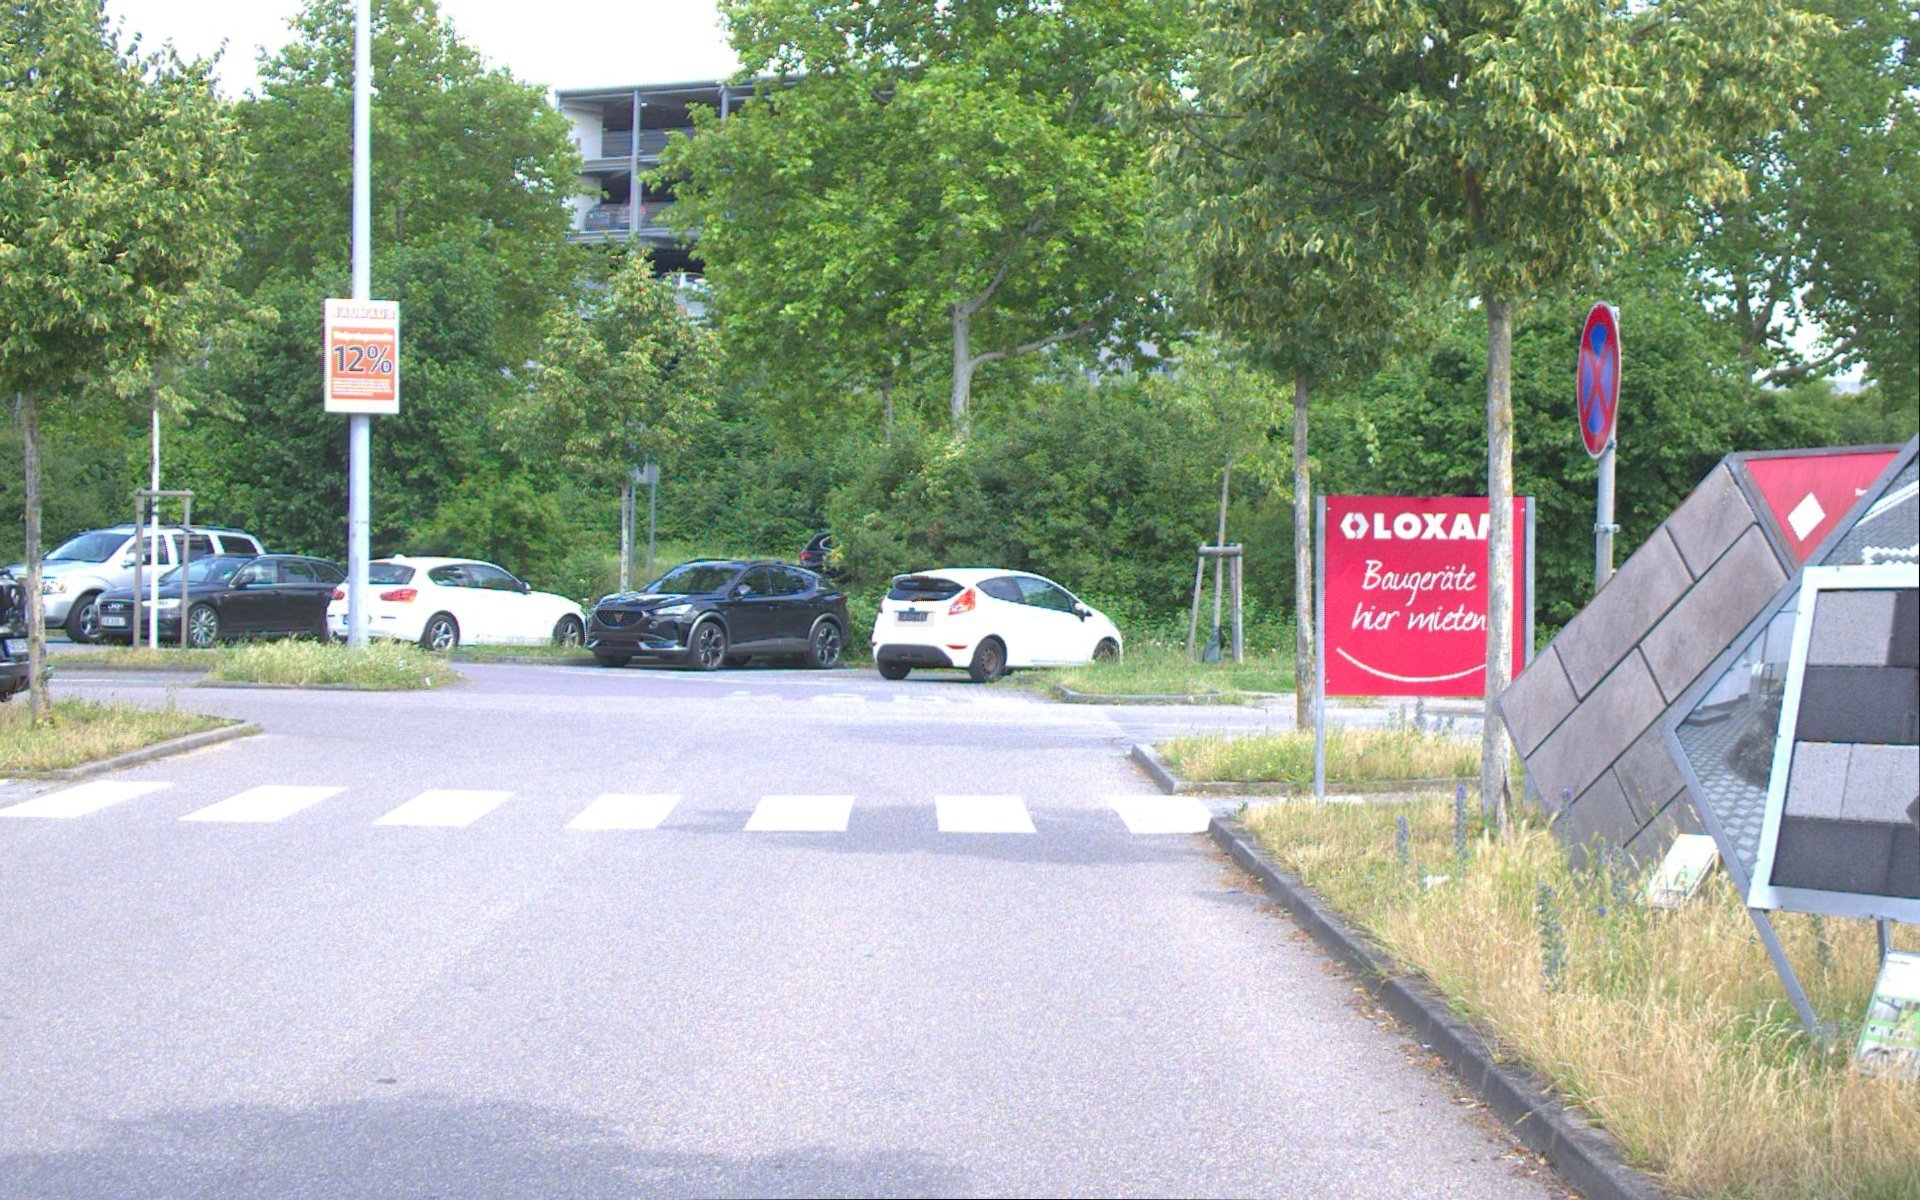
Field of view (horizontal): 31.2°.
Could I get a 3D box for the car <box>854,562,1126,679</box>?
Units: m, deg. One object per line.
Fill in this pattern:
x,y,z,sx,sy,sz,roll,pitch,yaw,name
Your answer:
0.420,0.254,44.520,1.668,1.407,3.549,2,1,38,car

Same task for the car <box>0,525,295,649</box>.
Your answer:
-13.073,-0.217,54.412,1.988,1.836,5.138,2,1,33,car

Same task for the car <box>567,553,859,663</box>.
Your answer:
-3.342,0.103,47.272,1.731,1.405,4.234,2,1,34,car

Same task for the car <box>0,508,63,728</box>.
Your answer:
-9.003,0.077,25.981,3.950,1.619,1.736,1,1,1,car

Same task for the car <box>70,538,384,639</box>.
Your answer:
-11.189,-0.174,52.786,1.837,1.446,4.715,2,1,35,car

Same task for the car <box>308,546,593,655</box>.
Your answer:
-7.338,0.006,49.861,1.688,1.504,4.073,1,0,37,car
